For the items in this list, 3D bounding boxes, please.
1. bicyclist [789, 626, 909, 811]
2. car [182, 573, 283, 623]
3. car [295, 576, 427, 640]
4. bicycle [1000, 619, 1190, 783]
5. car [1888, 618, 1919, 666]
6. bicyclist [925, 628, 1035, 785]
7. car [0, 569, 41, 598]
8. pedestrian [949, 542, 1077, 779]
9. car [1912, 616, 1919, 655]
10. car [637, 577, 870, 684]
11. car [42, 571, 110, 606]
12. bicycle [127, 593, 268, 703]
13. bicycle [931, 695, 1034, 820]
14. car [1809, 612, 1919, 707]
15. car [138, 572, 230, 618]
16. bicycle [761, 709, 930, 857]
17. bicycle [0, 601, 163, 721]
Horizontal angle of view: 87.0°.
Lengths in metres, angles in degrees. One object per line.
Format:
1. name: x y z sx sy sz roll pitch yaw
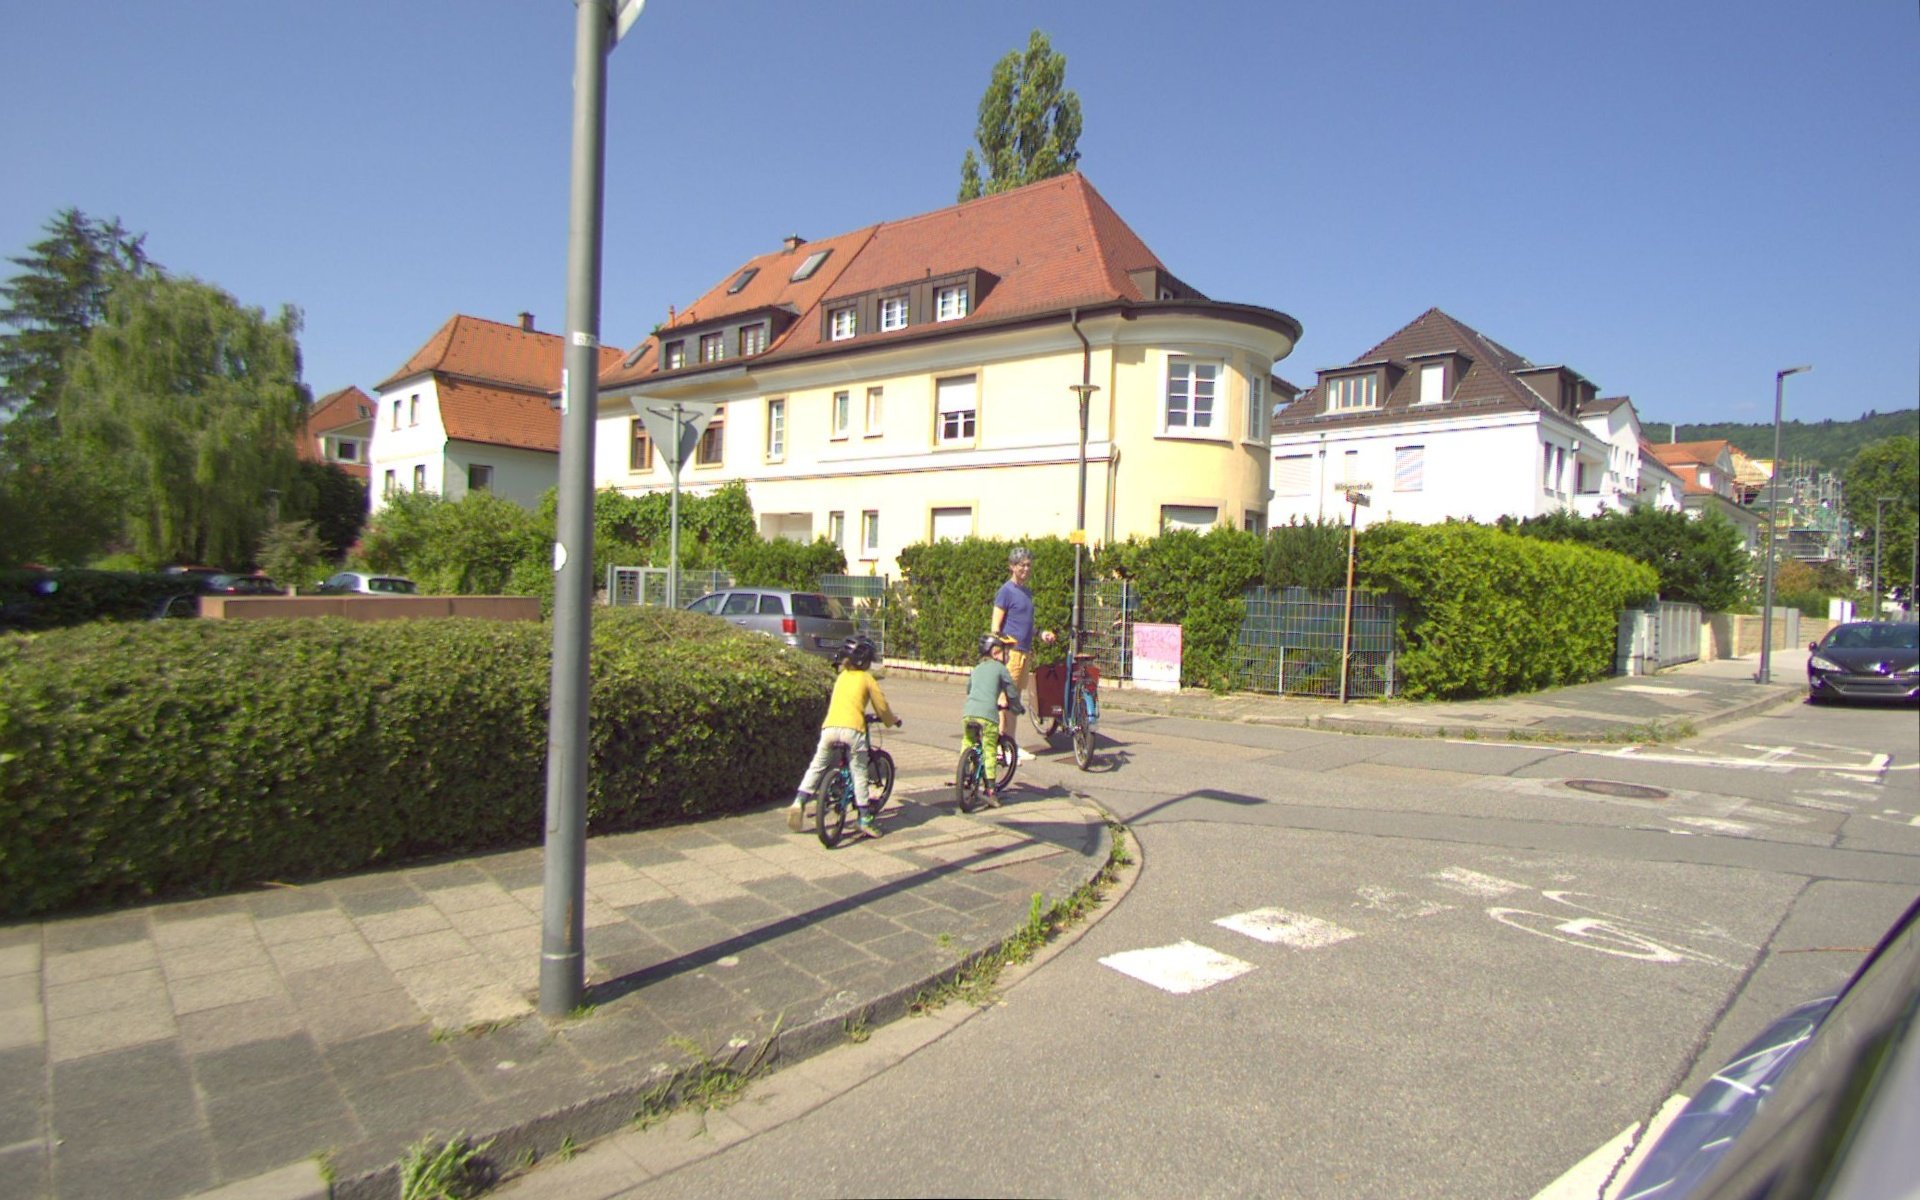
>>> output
1. bicyclist: -0.612 0.636 5.701 0.396 0.945 0.603 2 0 26
2. car: -25.115 -0.090 34.898 3.979 1.588 1.786 2 0 38
3. car: -16.416 0.185 27.677 3.979 1.588 1.786 2 0 38
4. bicycle: 1.114 0.819 9.239 0.846 1.173 2.717 1 1 -11
5. car: 29.605 1.253 30.806 4.009 1.346 1.738 0 -1 -44
6. bicyclist: 0.141 0.673 6.677 0.400 0.941 0.649 2 0 38
7. car: -53.023 -0.942 56.548 3.979 1.588 1.786 2 0 38
8. pedestrian: 0.493 0.476 8.855 0.888 1.896 1.184 2 0 13
9. car: 38.203 1.354 39.266 1.722 1.468 4.101 -2 -2 44
10. car: -3.624 0.452 17.478 3.979 1.588 1.786 2 0 38
11. car: -43.213 -0.569 49.466 3.979 1.588 1.786 2 0 38
12. bicycle: -8.977 0.528 11.897 1.807 1.109 0.625 4 1 30
13. bicycle: 0.173 0.999 6.650 0.397 0.607 1.168 2 1 15
14. car: 16.469 0.968 17.661 4.267 1.487 1.740 1 -2 -39
15. car: -29.135 -0.201 37.970 3.979 1.588 1.786 2 0 38
16. bicycle: -0.613 0.990 5.730 0.398 0.607 1.141 2 1 25
17. bicycle: -9.562 0.624 10.692 1.790 1.109 0.631 4 0 4
